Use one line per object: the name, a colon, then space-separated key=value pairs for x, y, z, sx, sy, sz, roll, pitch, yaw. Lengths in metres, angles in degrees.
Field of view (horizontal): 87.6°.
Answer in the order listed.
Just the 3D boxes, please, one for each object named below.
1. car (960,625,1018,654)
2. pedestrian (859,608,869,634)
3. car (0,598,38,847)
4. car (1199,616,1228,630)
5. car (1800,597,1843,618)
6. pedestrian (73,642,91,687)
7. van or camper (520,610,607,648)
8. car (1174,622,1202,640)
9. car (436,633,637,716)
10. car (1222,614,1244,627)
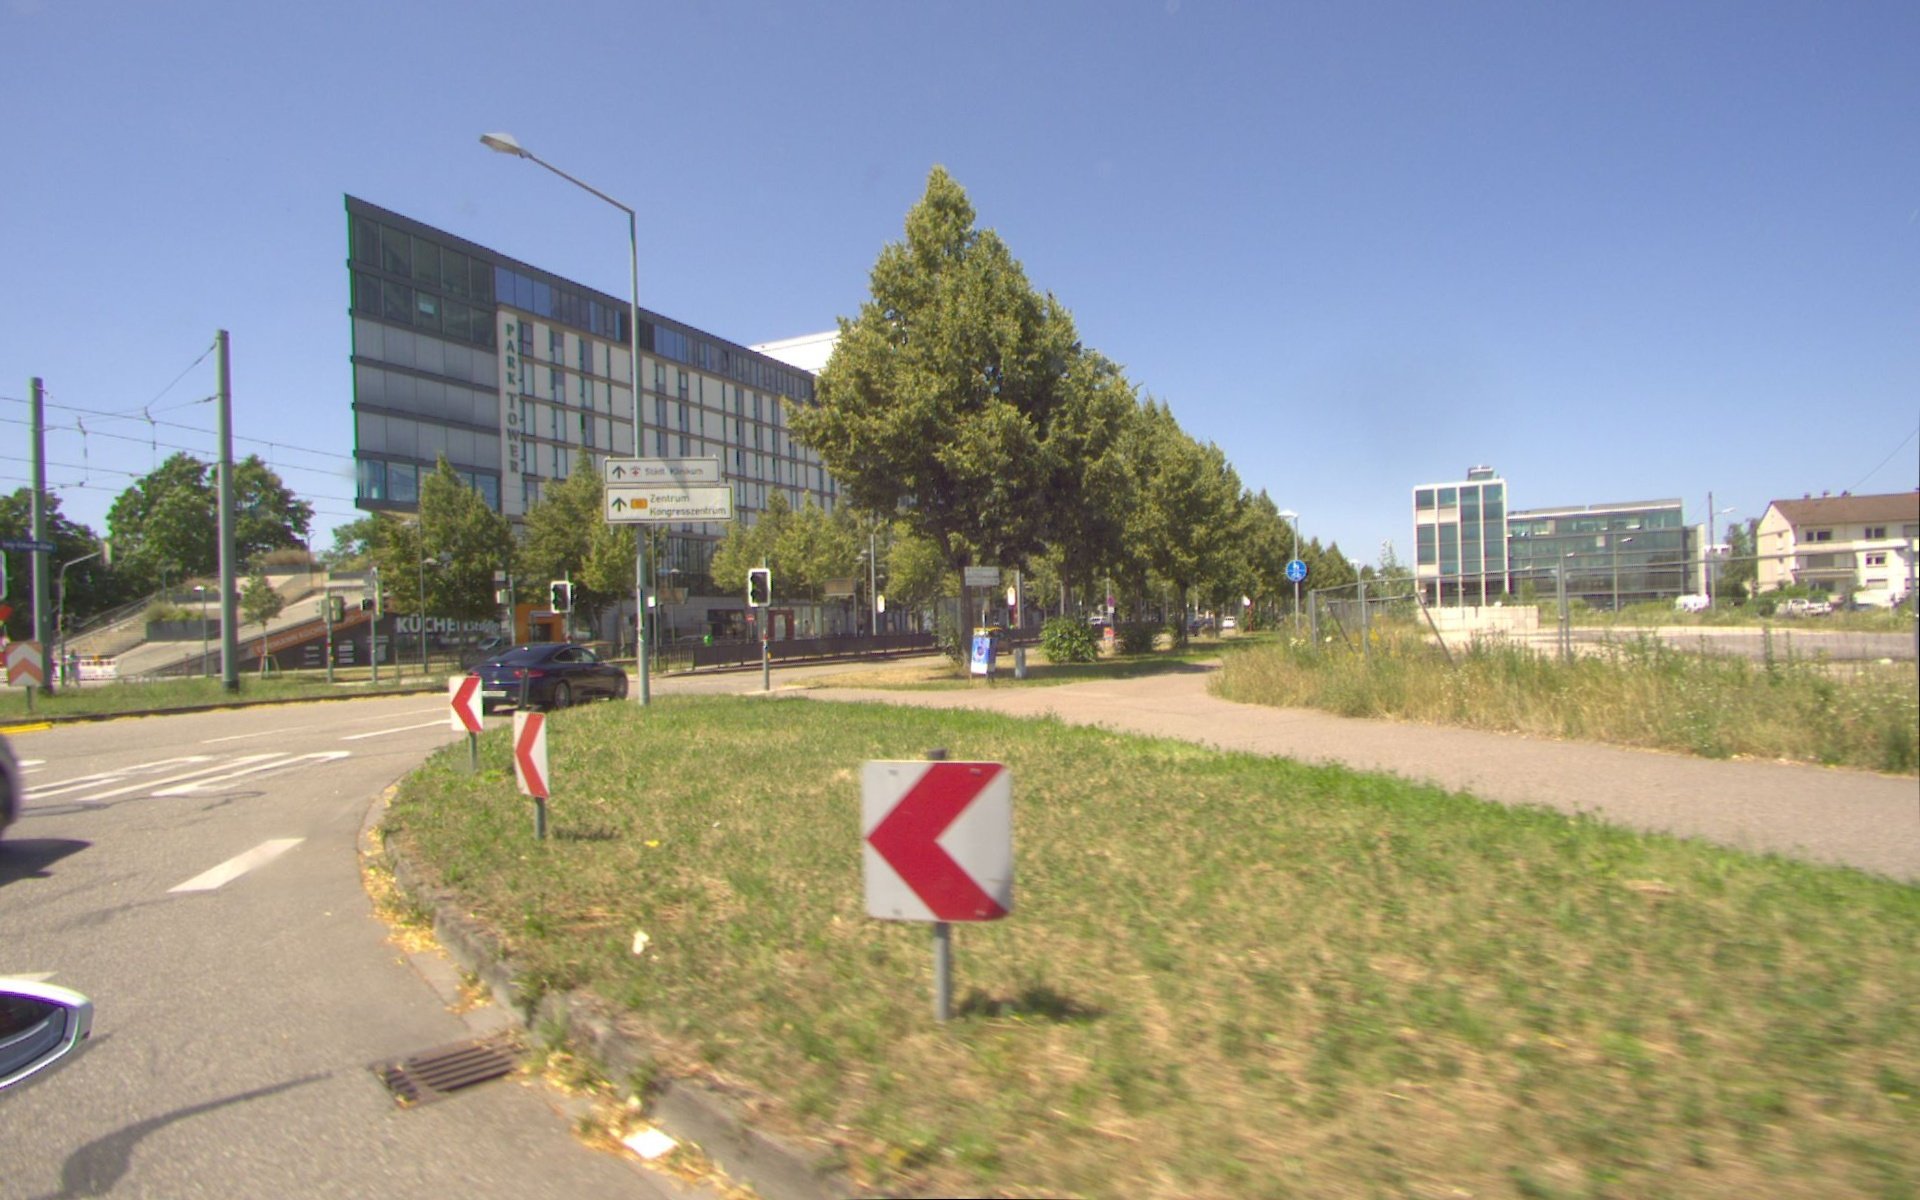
car: x=1.589 y=2.078 z=53.298 sx=1.598 sy=1.469 sz=3.974 roll=-2 pitch=-2 yaw=26
pedestrian: x=-6.662 y=1.442 z=69.480 sx=0.404 sy=1.774 sz=0.584 roll=-1 pitch=-1 yaw=23
car: x=-6.874 y=0.758 z=4.608 sx=1.773 sy=1.670 sz=4.601 roll=0 pitch=-2 yaw=-12
car: x=27.765 y=2.534 z=109.467 sx=1.970 sy=1.467 sz=4.740 roll=-2 pitch=-3 yaw=28
car: x=72.589 y=0.676 z=84.381 sx=1.653 sy=1.606 sz=3.614 roll=-3 pitch=-3 yaw=23
pedestrian: x=-34.826 y=2.558 z=39.705 sx=0.313 sy=1.761 sz=0.448 roll=-1 pitch=-1 yaw=25
van or camper: x=-31.254 y=2.271 z=79.242 sx=2.343 sy=2.858 sz=6.770 roll=-1 pitch=-2 yaw=23
car: x=19.997 y=2.732 z=87.614 sx=1.965 sy=1.467 sz=4.644 roll=-2 pitch=-2 yaw=18
car: x=-8.664 y=1.471 z=21.053 sx=1.822 sy=1.455 sz=4.956 roll=-1 pitch=-1 yaw=4
car: x=33.182 y=2.552 z=121.776 sx=1.827 sy=1.467 sz=4.339 roll=-2 pitch=-2 yaw=25
